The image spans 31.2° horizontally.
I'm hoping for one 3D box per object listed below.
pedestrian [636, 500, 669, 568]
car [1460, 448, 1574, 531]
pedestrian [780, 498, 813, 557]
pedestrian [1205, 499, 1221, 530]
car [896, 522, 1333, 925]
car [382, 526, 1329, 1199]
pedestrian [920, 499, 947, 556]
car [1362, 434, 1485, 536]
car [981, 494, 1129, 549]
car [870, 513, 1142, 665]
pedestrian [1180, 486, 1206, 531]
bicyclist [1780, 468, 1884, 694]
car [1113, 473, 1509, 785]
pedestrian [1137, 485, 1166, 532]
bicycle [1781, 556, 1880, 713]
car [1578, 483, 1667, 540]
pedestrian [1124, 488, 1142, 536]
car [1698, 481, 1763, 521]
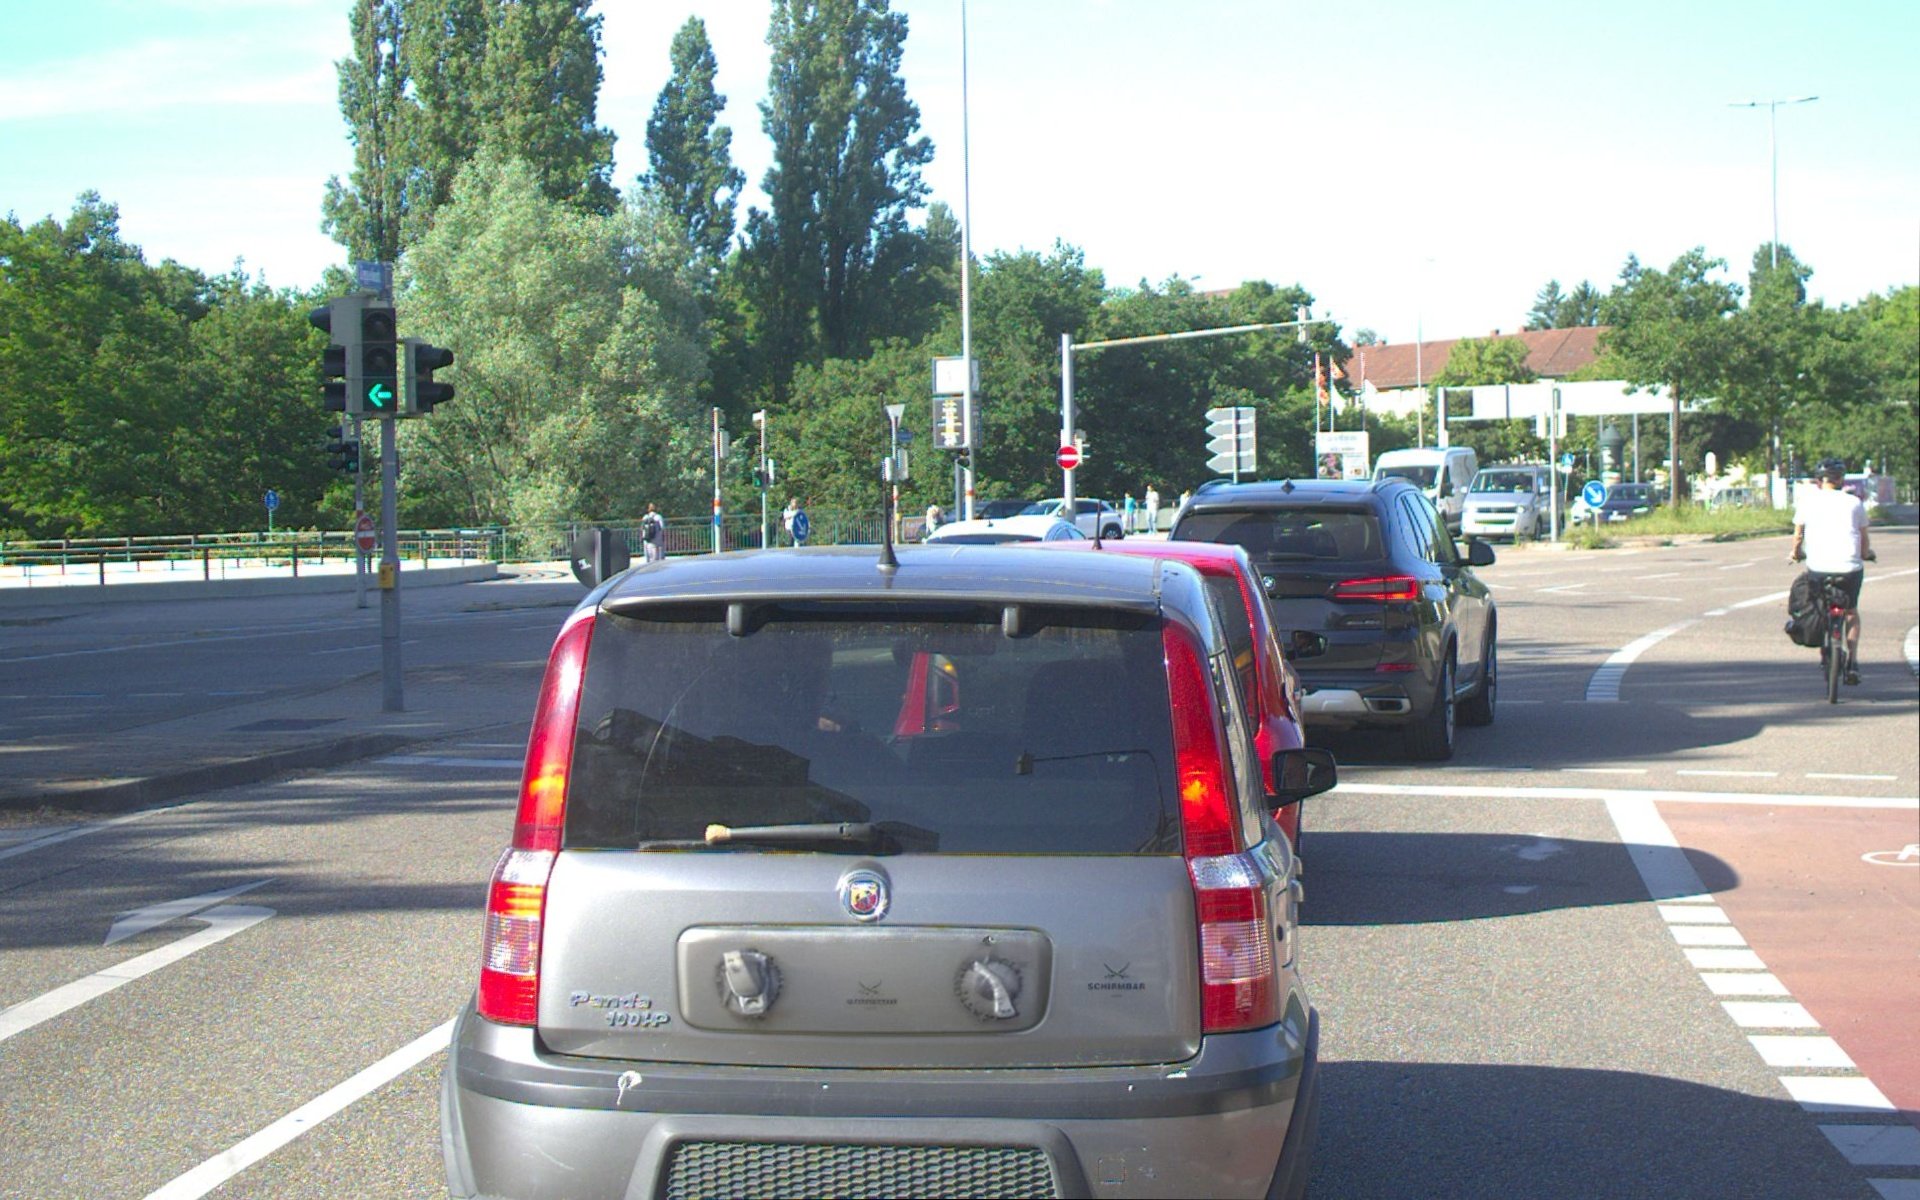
[{"bbox_3d":[-6.668,-1.443,74.552,0.679,1.458,0.703,-1,2,-6],"label":"pedestrian"},{"bbox_3d":[14.066,-2.790,86.572,1.938,2.001,4.927,0,2,20],"label":"car"},{"bbox_3d":[-4.414,-1.957,92.802,0.709,1.542,0.729,-2,0,-16],"label":"pedestrian"},{"bbox_3d":[9.236,-3.131,125.508,0.424,1.132,0.397,1,0,25],"label":"pedestrian"},{"bbox_3d":[0.731,0.427,14.786,1.617,1.458,3.750,-1,2,5],"label":"car"},{"bbox_3d":[-0.027,0.613,7.762,1.618,1.510,3.819,0,2,5],"label":"car"},{"bbox_3d":[-0.728,-2.009,95.516,0.556,1.542,0.576,-2,0,-16],"label":"pedestrian"},{"bbox_3d":[12.262,-3.036,90.555,1.938,2.567,6.083,0,2,20],"label":"car"},{"bbox_3d":[2.826,-2.336,101.724,4.317,1.530,1.784,-3,3,-41],"label":"car"},{"bbox_3d":[0.546,-0.157,35.137,1.782,1.410,4.316,0,2,15],"label":"car"},{"bbox_3d":[8.533,-3.339,125.784,0.721,1.635,0.671,1,0,25],"label":"pedestrian"},{"bbox_3d":[6.560,-0.162,25.868,0.724,1.654,1.112,1,2,14],"label":"bicyclist"},{"bbox_3d":[2.400,0.109,22.481,1.946,1.833,4.150,-1,2,15],"label":"car"},{"bbox_3d":[6.745,-3.220,121.089,0.791,1.658,0.628,1,0,41],"label":"pedestrian"},{"bbox_3d":[6.573,0.238,25.949,0.691,1.098,1.825,1,2,14],"label":"bicycle"},{"bbox_3d":[19.899,-2.671,103.165,1.938,1.616,4.501,0,2,20],"label":"car"},{"bbox_3d":[6.133,-3.124,121.869,0.499,1.696,0.499,1,0,24],"label":"pedestrian"},{"bbox_3d":[37.481,-4.799,167.157,1.997,1.809,3.993,1,0,29],"label":"car"}]
